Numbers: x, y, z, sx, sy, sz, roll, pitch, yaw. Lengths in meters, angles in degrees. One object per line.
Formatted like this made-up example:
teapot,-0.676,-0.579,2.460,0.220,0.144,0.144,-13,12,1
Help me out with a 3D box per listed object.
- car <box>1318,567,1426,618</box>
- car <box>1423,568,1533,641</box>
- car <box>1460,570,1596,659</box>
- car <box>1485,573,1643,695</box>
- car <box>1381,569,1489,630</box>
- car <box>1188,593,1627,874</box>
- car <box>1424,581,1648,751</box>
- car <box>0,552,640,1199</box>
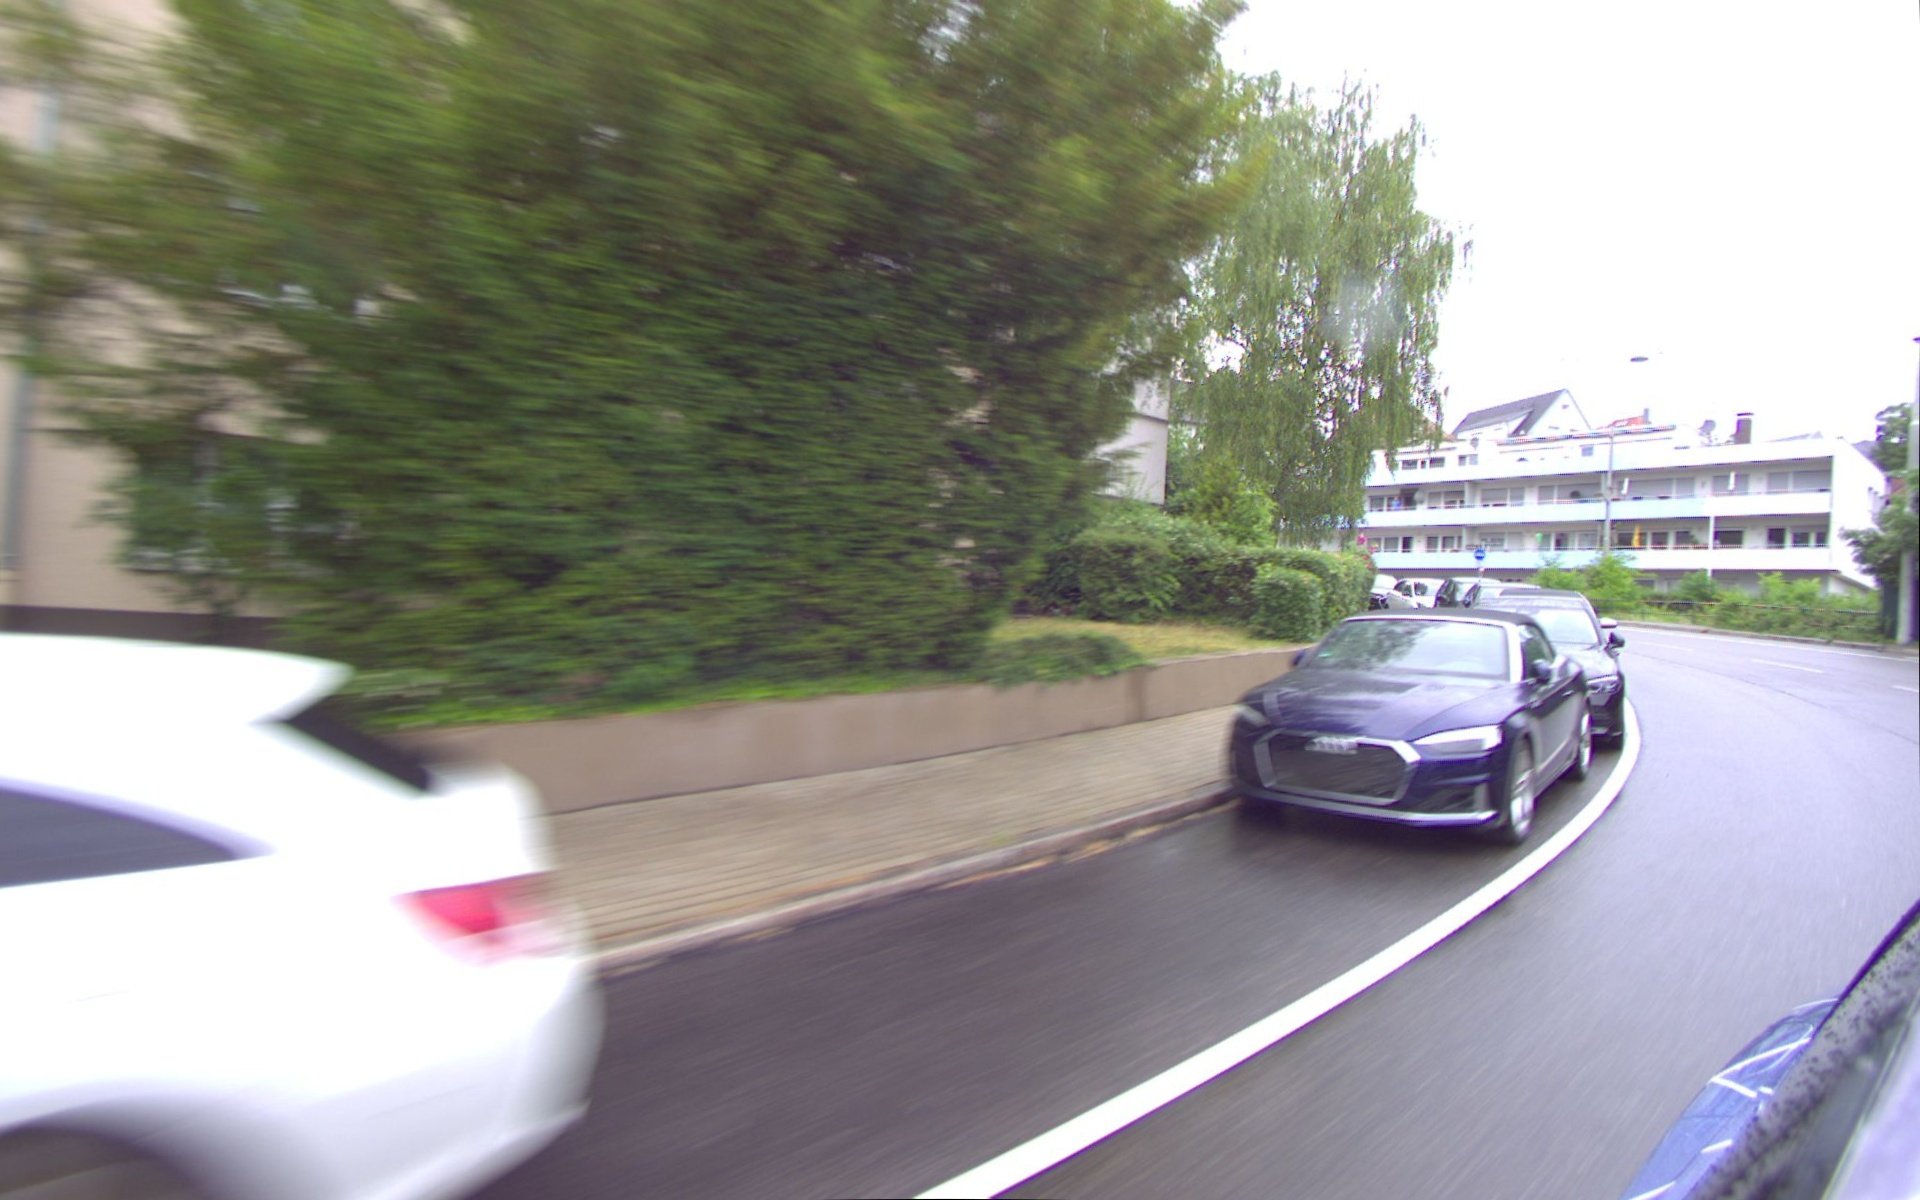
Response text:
car,14.019,-0.315,34.709,1.597,1.537,4.332,3,2,-5
car,12.688,0.041,24.998,1.603,1.523,3.587,6,3,16
car,11.252,0.218,20.304,1.701,1.452,4.040,6,3,21
car,9.075,0.430,15.487,1.672,1.489,3.704,6,3,26
car,13.895,-0.074,29.856,1.704,1.481,4.022,5,3,9
car,3.643,0.693,7.674,1.806,1.364,4.553,5,4,40
car,6.712,0.573,11.681,1.800,1.452,4.478,5,3,32
car,-3.015,0.643,1.496,4.483,1.452,1.785,1,3,-37
